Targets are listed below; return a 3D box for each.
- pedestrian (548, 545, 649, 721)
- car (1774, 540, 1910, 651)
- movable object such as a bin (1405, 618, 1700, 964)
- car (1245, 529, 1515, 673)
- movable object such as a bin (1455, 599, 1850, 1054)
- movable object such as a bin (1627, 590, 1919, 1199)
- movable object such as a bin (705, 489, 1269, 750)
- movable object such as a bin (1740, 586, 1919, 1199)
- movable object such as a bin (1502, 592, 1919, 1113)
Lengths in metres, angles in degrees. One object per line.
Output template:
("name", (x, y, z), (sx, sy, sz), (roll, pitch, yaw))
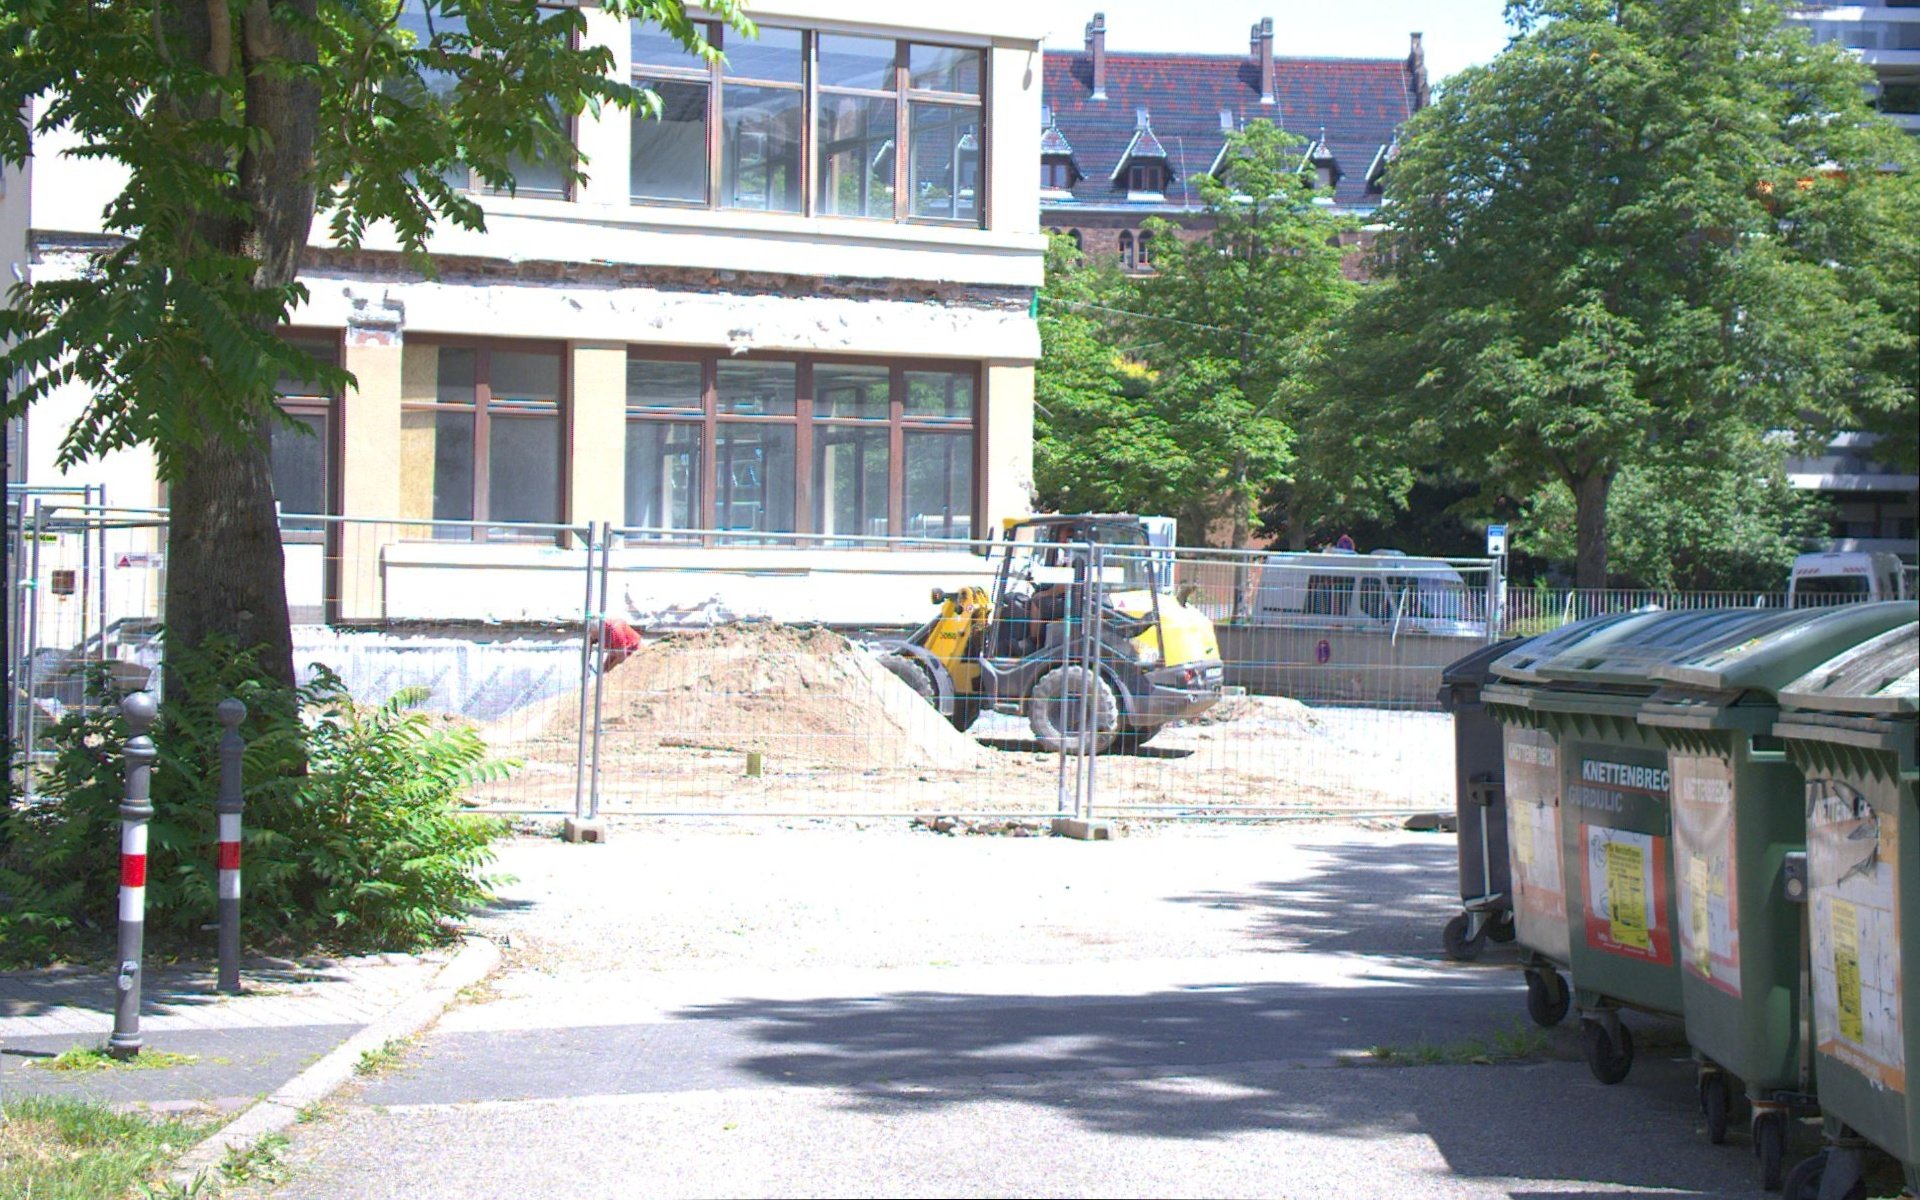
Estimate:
("pedestrian", (-3.858, 0.353, 36.679), (0.914, 1.840, 0.986), (1, 0, -15))
("car", (18.634, -0.080, 72.471), (2.187, 2.250, 4.863), (1, 0, 21))
("movable object such as a bin", (2.603, 0.814, 15.281), (1.075, 1.453, 1.377), (1, 0, 1))
("car", (7.324, 0.018, 60.527), (1.993, 2.408, 5.243), (1, 0, -29))
("movable object such as a bin", (2.331, 0.730, 11.775), (1.075, 1.453, 1.377), (1, 0, 1))
("movable object such as a bin", (2.397, 0.710, 8.880), (1.075, 1.453, 1.377), (1, 0, 1))
("movable object such as a bin", (0.274, 0.166, 36.451), (5.411, 2.456, 2.364), (3, 1, 27))
("movable object such as a bin", (2.382, 0.706, 7.437), (1.075, 1.453, 1.377), (1, 0, 1))
("movable object such as a bin", (2.281, 0.712, 10.353), (1.075, 1.453, 1.377), (1, 0, 1))
